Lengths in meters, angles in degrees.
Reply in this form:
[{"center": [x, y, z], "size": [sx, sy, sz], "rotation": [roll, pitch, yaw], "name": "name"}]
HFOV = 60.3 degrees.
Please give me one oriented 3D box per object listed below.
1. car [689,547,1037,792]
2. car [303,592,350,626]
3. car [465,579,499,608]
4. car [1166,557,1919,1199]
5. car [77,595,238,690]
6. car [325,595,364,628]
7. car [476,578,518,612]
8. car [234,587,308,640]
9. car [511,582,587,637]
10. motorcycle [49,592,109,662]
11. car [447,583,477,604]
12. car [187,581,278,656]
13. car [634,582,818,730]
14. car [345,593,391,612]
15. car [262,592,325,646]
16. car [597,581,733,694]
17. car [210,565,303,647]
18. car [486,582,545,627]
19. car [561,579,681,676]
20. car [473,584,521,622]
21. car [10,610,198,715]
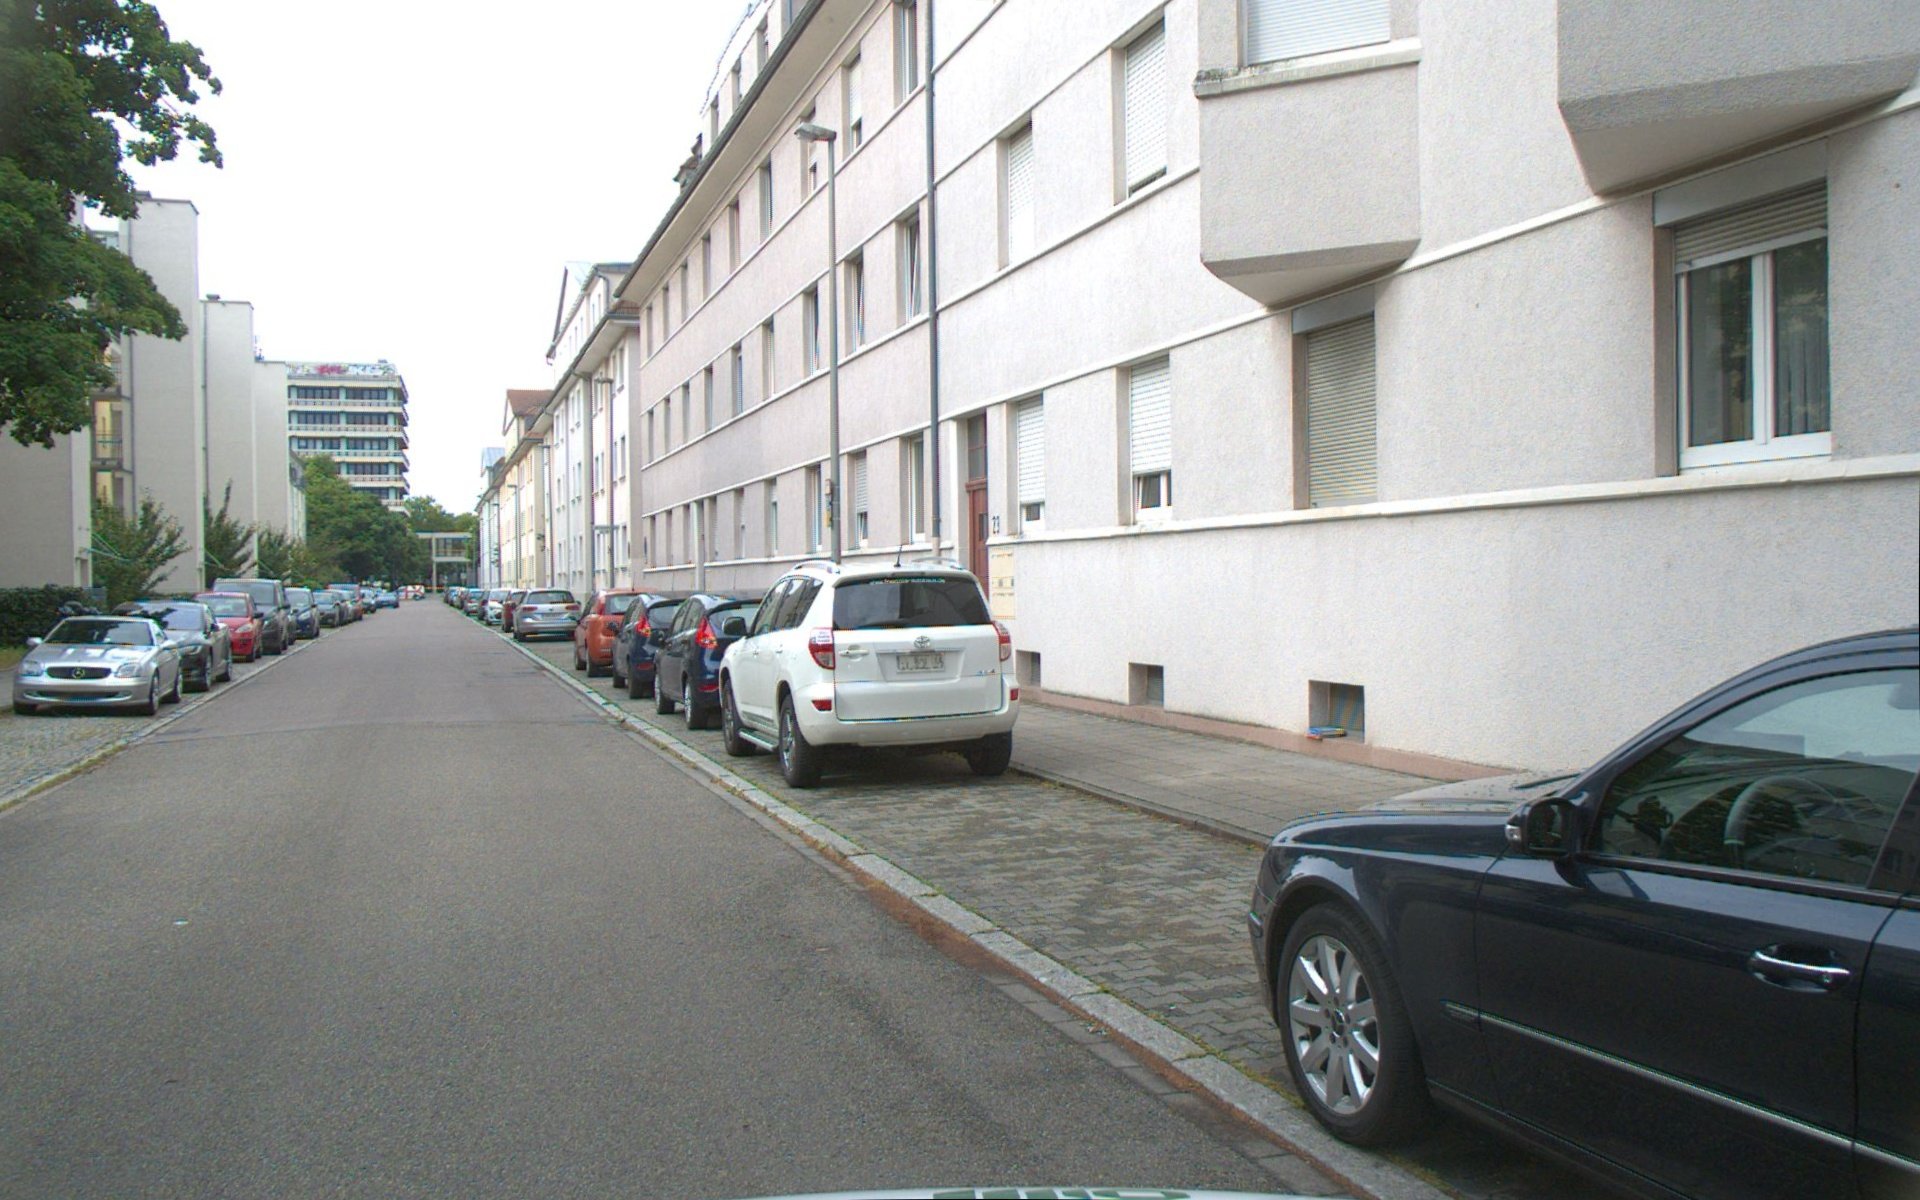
[{"center": [-1.005, 0.461, 14.124], "size": [1.815, 1.703, 4.265], "rotation": [-2, 1, -20], "name": "car"}, {"center": [-26.512, 0.362, 69.301], "size": [1.646, 1.375, 3.797], "rotation": [0, 1, -18], "name": "car"}, {"center": [-27.663, -0.382, 95.615], "size": [1.791, 1.604, 3.864], "rotation": [0, 1, -18], "name": "car"}, {"center": [2.257, 0.649, 3.101], "size": [1.719, 1.445, 4.922], "rotation": [-2, 1, -19], "name": "car"}, {"center": [-13.659, 0.684, 28.401], "size": [1.813, 1.446, 4.606], "rotation": [1, 0, -18], "name": "car"}, {"center": [-30.729, 0.568, 82.638], "size": [1.646, 1.552, 4.231], "rotation": [0, 1, -18], "name": "car"}, {"center": [-22.331, -0.275, 79.740], "size": [1.791, 1.604, 3.733], "rotation": [0, 1, -18], "name": "car"}, {"center": [-20.339, 0.366, 48.957], "size": [1.803, 1.484, 4.235], "rotation": [0, 1, -20], "name": "car"}, {"center": [-11.841, 0.239, 47.471], "size": [1.729, 1.493, 4.575], "rotation": [0, 1, -19], "name": "car"}, {"center": [-18.239, 0.541, 34.275], "size": [0.667, 1.379, 2.218], "rotation": [2, 0, -18], "name": "motorcycle"}, {"center": [-36.557, -0.507, 121.379], "size": [1.963, 1.422, 3.979], "rotation": [2, 0, -18], "name": "car"}, {"center": [-16.668, 0.399, 38.034], "size": [1.539, 1.596, 3.622], "rotation": [2, 0, -19], "name": "car"}, {"center": [-2.810, 0.561, 19.257], "size": [1.542, 1.504, 3.853], "rotation": [-1, 1, -17], "name": "car"}, {"center": [-41.086, 0.161, 114.698], "size": [3.677, 1.235, 1.534], "rotation": [1, 1, 44], "name": "car"}, {"center": [-21.958, 0.579, 54.616], "size": [1.743, 1.671, 4.330], "rotation": [0, 1, -20], "name": "car"}, {"center": [-4.414, 0.489, 24.421], "size": [1.542, 1.499, 3.679], "rotation": [-2, 1, -17], "name": "car"}, {"center": [-18.095, 0.128, 42.707], "size": [1.851, 1.937, 5.001], "rotation": [2, 0, -20], "name": "car"}, {"center": [-15.411, 0.129, 57.261], "size": [1.645, 1.444, 3.978], "rotation": [-3, 1, -19], "name": "car"}, {"center": [-6.113, 0.432, 29.565], "size": [1.670, 1.552, 3.807], "rotation": [-2, 1, -18], "name": "car"}, {"center": [-19.181, 0.092, 68.471], "size": [1.791, 1.531, 3.733], "rotation": [0, 1, -18], "name": "car"}, {"center": [-11.991, 0.837, 23.411], "size": [1.670, 1.280, 3.995], "rotation": [1, 0, -18], "name": "car"}]
